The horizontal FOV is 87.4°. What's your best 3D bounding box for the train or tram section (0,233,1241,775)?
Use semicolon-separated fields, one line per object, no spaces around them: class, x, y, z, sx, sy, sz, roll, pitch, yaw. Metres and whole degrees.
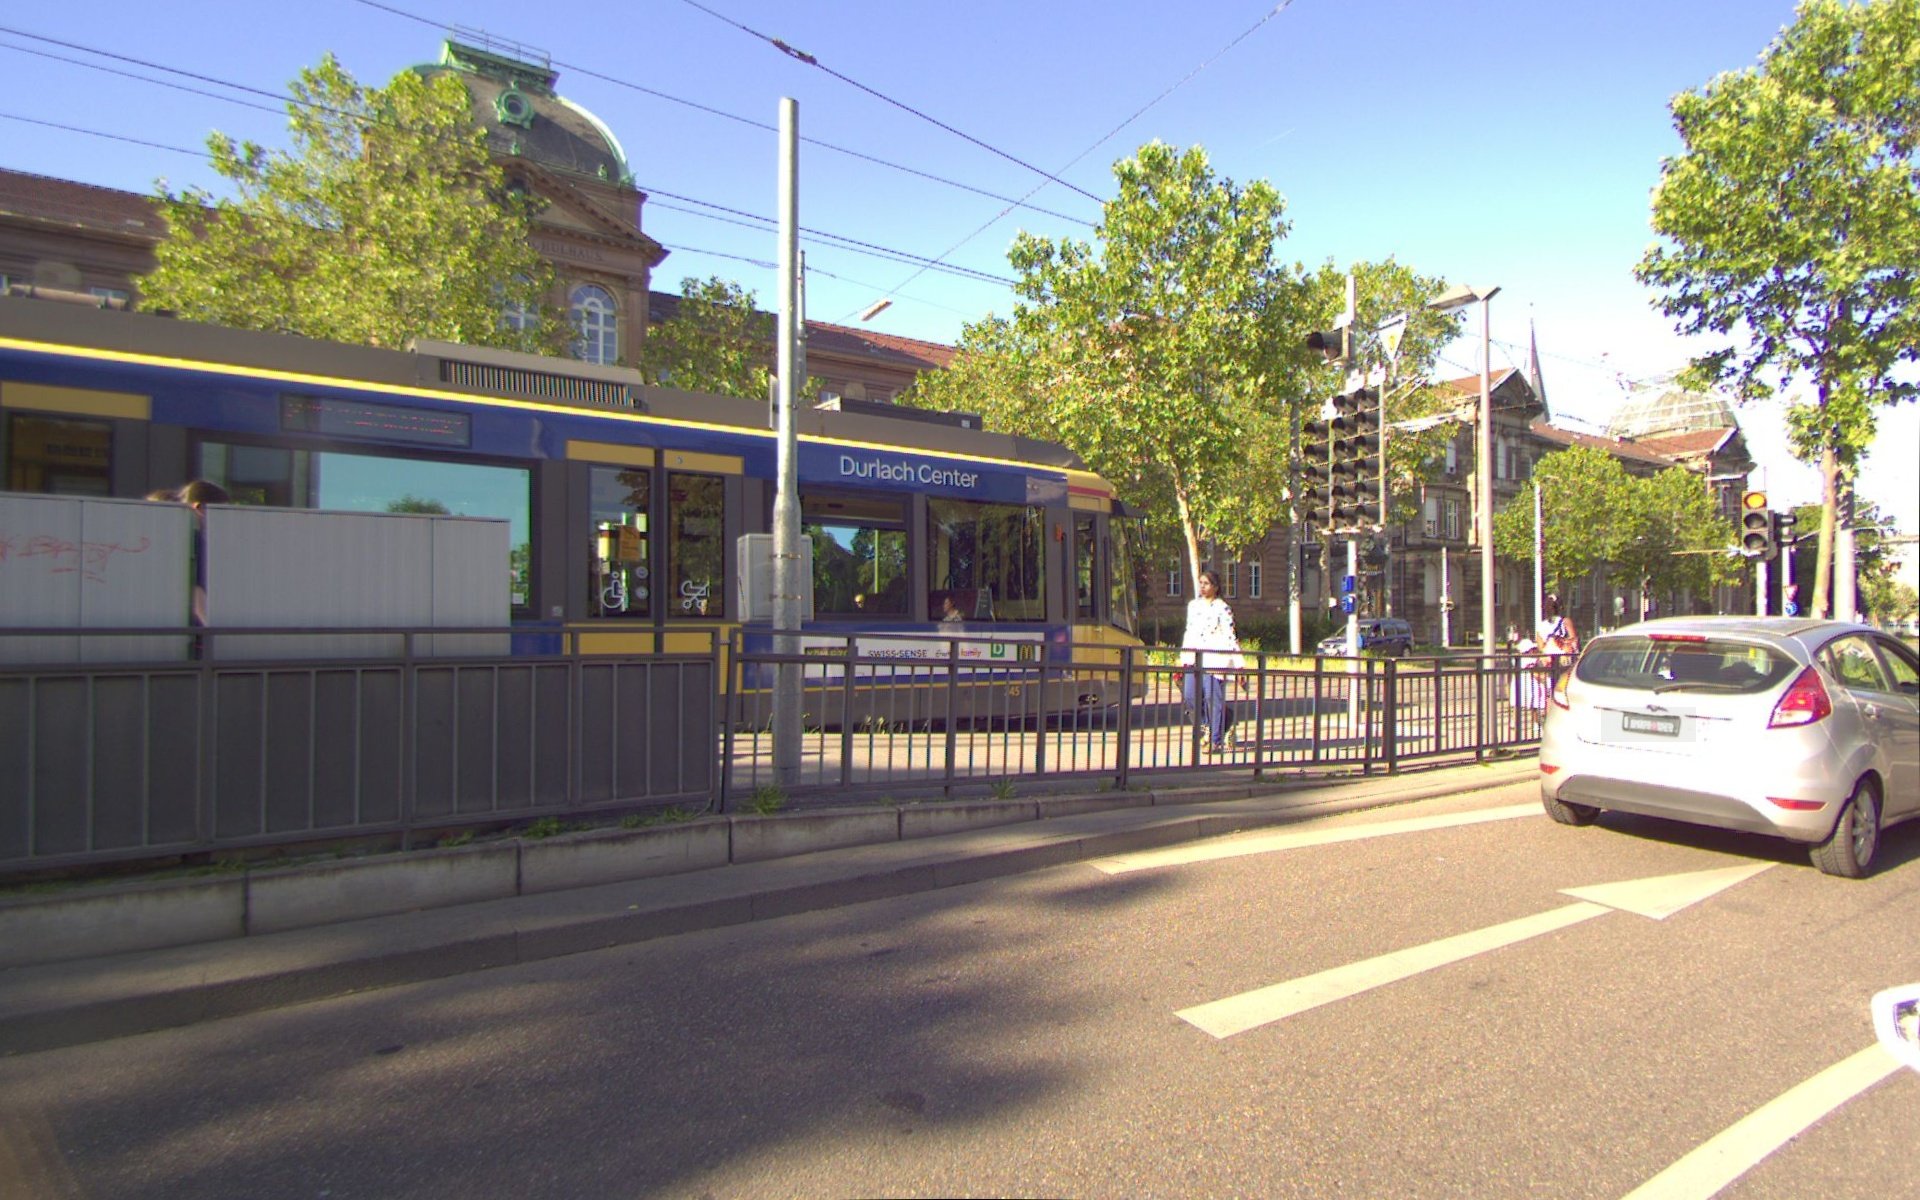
train or tram section;-2.721;-0.443;10.012;12.978;3.303;2.896;2;0;-34

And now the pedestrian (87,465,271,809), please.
pedestrian;-4.261;0.196;5.517;0.740;1.724;0.628;1;-2;-38

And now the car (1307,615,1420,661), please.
car;15.185;1.415;37.765;3.953;1.646;1.984;1;-1;-30

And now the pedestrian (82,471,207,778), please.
pedestrian;-4.901;0.147;6.069;0.541;1.724;0.604;1;-1;-37

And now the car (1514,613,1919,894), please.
car;5.593;0.842;6.866;3.592;1.428;1.651;2;0;-33

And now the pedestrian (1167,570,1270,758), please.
pedestrian;2.374;0.584;9.235;0.635;1.640;0.635;4;-3;-37

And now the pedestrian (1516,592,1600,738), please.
pedestrian;6.742;0.711;11.333;0.641;1.577;0.626;1;-1;-38
